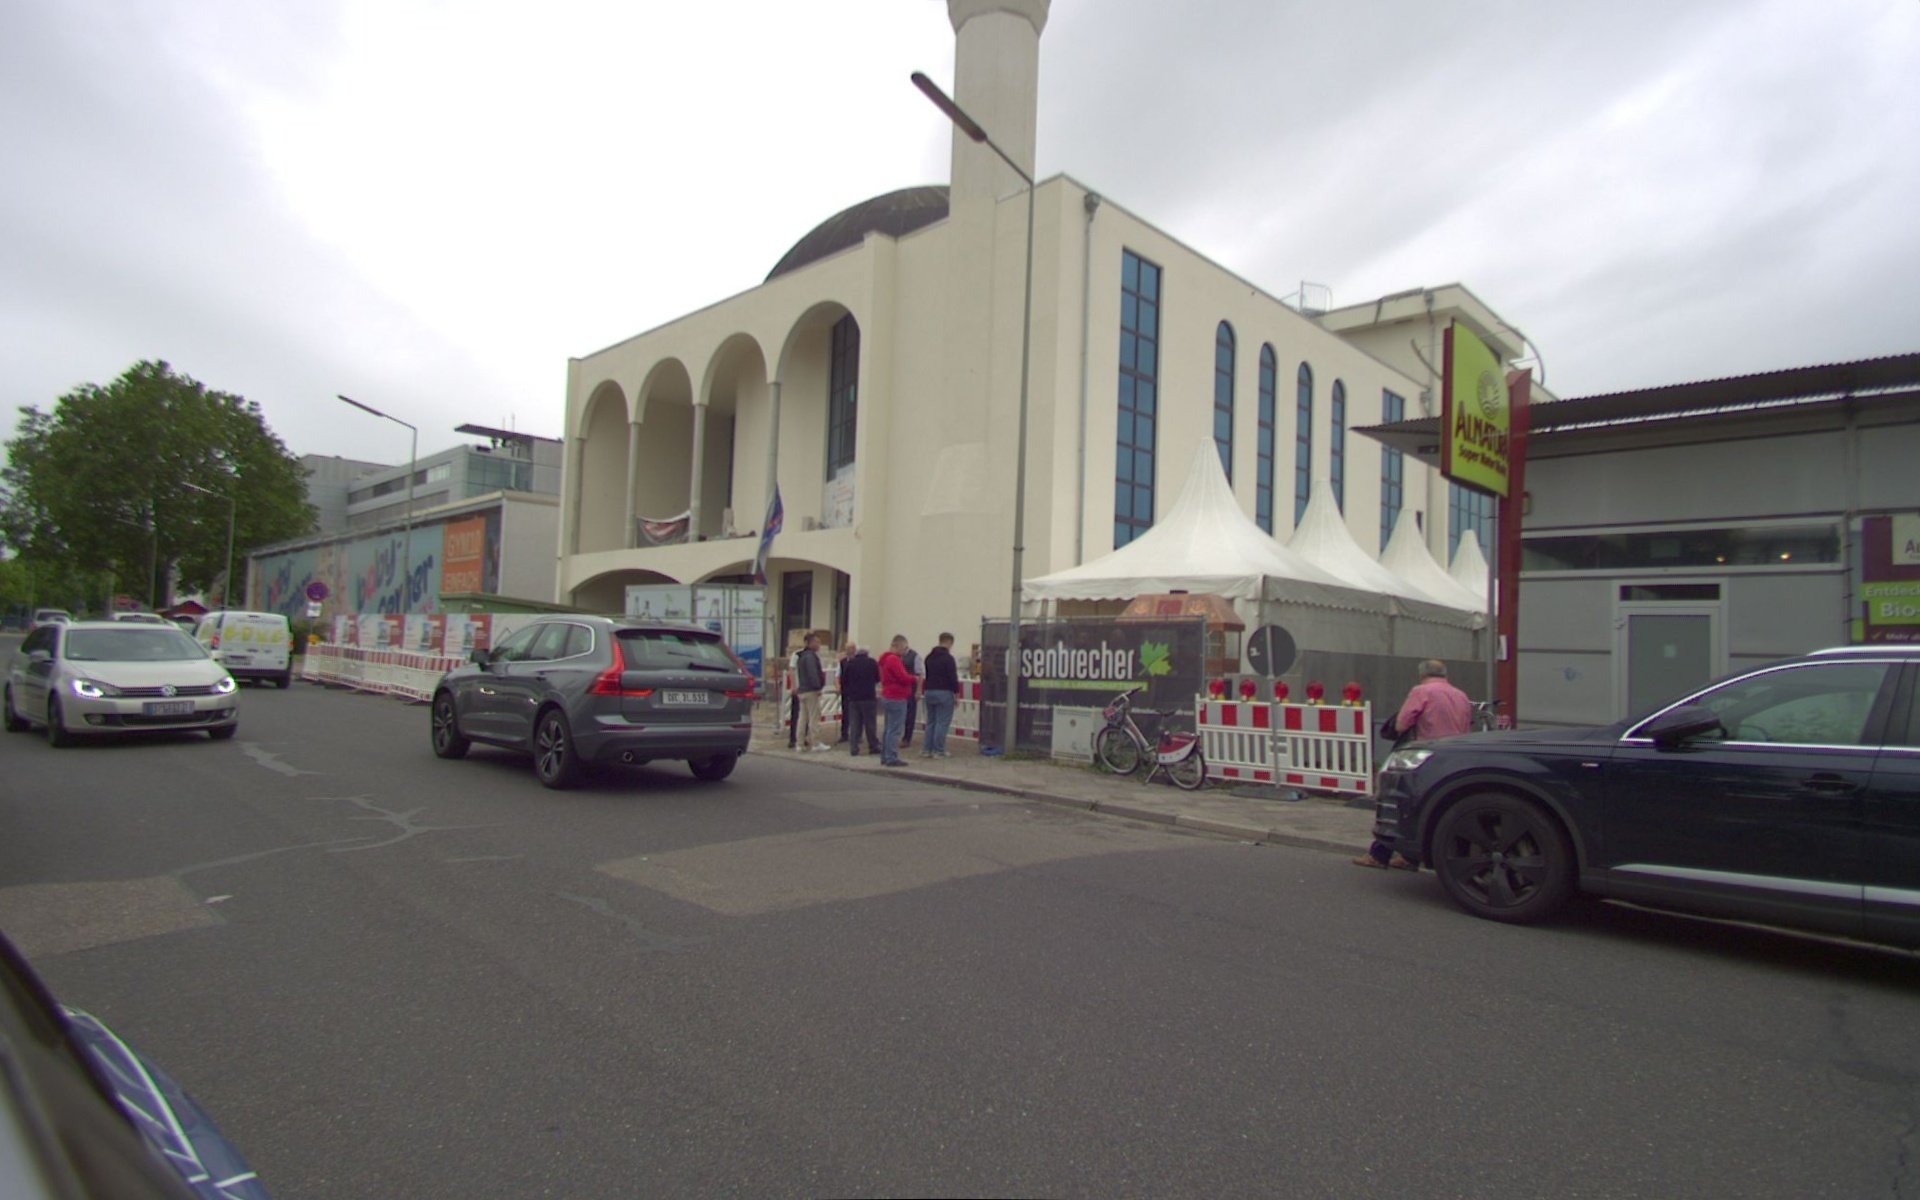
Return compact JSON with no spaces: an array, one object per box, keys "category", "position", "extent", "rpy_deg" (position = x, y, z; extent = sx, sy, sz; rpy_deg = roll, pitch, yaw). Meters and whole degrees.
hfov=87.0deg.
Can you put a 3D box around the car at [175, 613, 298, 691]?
[{"category":"car","position":[-17.881,1.258,24.952],"extent":[4.136,1.774,1.670],"rpy_deg":[-1,-4,44]}]

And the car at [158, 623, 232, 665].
[{"category":"car","position":[-33.227,1.891,43.909],"extent":[1.902,1.586,4.152],"rpy_deg":[9,-7,-44]}]

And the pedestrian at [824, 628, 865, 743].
[{"category":"pedestrian","position":[-1.823,1.338,15.988],"extent":[0.522,1.763,0.490],"rpy_deg":[-2,-3,4]}]

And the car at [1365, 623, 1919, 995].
[{"category":"car","position":[4.942,1.073,5.492],"extent":[1.844,1.704,4.732],"rpy_deg":[10,-8,-44]}]

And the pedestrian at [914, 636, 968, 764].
[{"category":"pedestrian","position":[-0.270,1.384,14.263],"extent":[0.686,1.731,0.687],"rpy_deg":[-2,-2,-1]}]

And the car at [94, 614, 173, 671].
[{"category":"car","position":[-29.922,1.505,36.590],"extent":[1.774,1.821,4.387],"rpy_deg":[6,-4,-43]}]

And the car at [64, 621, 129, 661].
[{"category":"car","position":[-37.153,1.742,43.513],"extent":[1.709,1.583,3.949],"rpy_deg":[7,-6,-45]}]

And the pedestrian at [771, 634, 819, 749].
[{"category":"pedestrian","position":[-2.597,1.430,15.973],"extent":[0.681,1.763,0.491],"rpy_deg":[-1,-3,-5]}]

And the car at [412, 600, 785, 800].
[{"category":"car","position":[-4.037,0.948,10.874],"extent":[4.496,1.697,1.911],"rpy_deg":[-1,-5,44]}]

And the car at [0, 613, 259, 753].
[{"category":"car","position":[-10.752,0.926,12.692],"extent":[4.285,1.462,1.739],"rpy_deg":[0,-2,34]}]

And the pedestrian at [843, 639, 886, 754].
[{"category":"pedestrian","position":[-1.394,1.393,14.726],"extent":[0.562,1.624,0.491],"rpy_deg":[-1,-3,-7]}]

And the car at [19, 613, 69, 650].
[{"category":"car","position":[-55.200,1.878,60.963],"extent":[1.904,2.029,4.959],"rpy_deg":[5,-4,-44]}]

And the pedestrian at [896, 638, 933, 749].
[{"category":"pedestrian","position":[-0.693,1.427,15.545],"extent":[0.484,1.623,0.540],"rpy_deg":[1,2,5]}]

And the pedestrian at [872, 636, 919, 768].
[{"category":"pedestrian","position":[-0.850,1.339,13.459],"extent":[0.507,1.705,0.532],"rpy_deg":[-2,-3,5]}]

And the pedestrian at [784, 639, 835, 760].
[{"category":"pedestrian","position":[-2.250,1.474,15.164],"extent":[0.681,1.763,0.491],"rpy_deg":[-1,-3,-5]}]

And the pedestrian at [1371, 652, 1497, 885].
[{"category":"pedestrian","position":[3.614,1.259,7.754],"extent":[0.668,1.634,0.651],"rpy_deg":[4,-6,9]}]

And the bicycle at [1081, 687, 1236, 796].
[{"category":"bicycle","position":[2.334,1.641,12.129],"extent":[0.537,1.086,1.904],"rpy_deg":[4,-3,-39]}]

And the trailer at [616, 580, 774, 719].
[{"category":"trailer","position":[-5.527,1.017,20.946],"extent":[1.776,2.626,3.195],"rpy_deg":[5,-5,-42]}]
